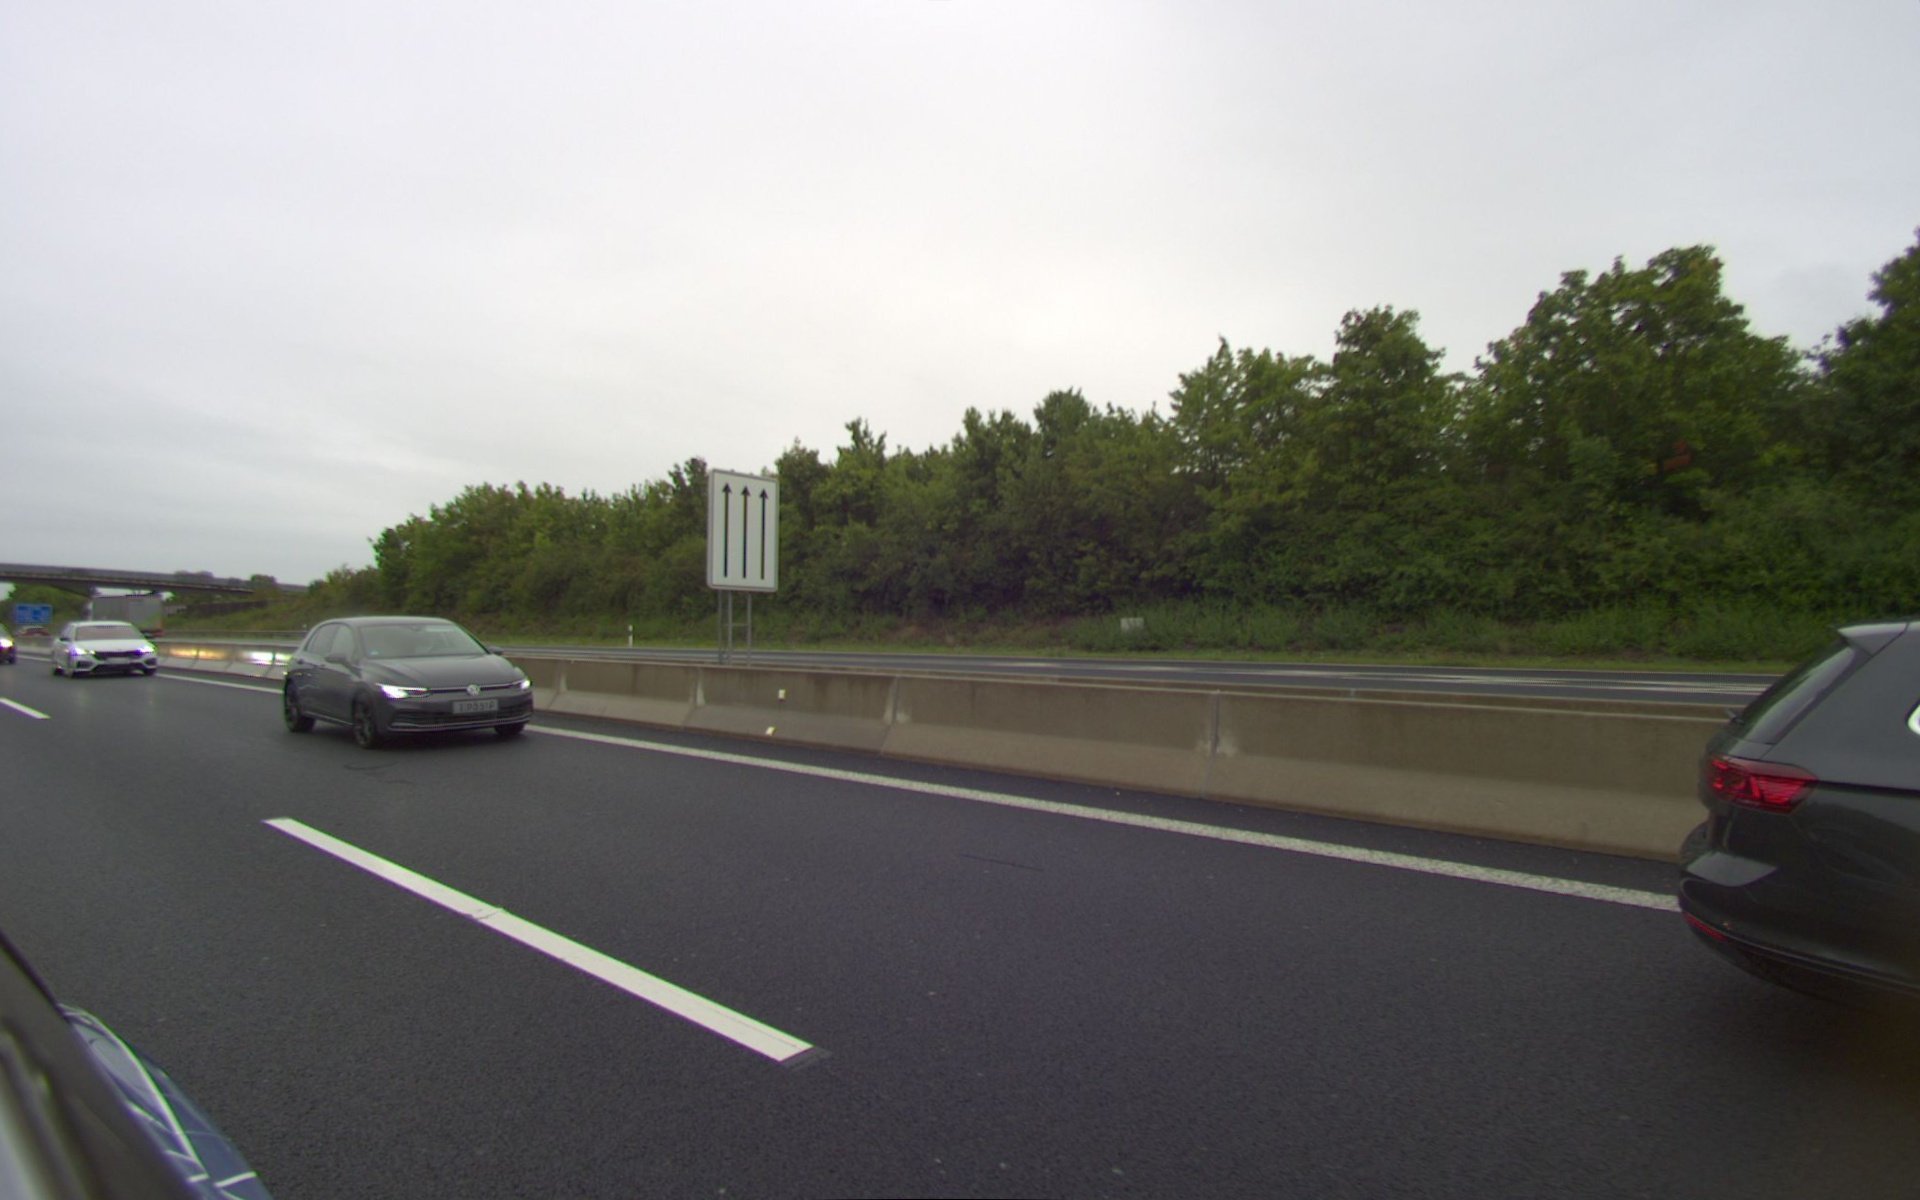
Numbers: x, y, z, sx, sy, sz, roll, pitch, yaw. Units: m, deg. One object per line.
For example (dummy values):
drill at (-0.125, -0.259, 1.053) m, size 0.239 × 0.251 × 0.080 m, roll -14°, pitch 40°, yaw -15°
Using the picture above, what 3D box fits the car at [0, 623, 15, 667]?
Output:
car at (-35.194, 1.610, 36.039) m, size 4.112 × 1.518 × 1.880 m, roll -1°, pitch -1°, yaw 41°

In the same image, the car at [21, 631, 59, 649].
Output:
car at (-74.658, 3.222, 82.131) m, size 4.378 × 1.416 × 1.880 m, roll -2°, pitch -1°, yaw 42°

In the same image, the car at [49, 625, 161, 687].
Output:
car at (-23.043, 1.449, 27.239) m, size 4.115 × 1.518 × 1.879 m, roll -2°, pitch -2°, yaw 44°

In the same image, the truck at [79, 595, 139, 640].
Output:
truck at (-80.687, 1.717, 95.871) m, size 7.436 × 4.114 × 3.226 m, roll -2°, pitch -2°, yaw 41°

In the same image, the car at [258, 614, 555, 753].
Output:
car at (-6.982, 0.902, 12.560) m, size 4.458 × 1.416 × 1.880 m, roll -2°, pitch -1°, yaw 42°

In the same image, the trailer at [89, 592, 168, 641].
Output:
trailer at (-74.461, 1.551, 90.469) m, size 13.836 × 4.114 × 3.226 m, roll -2°, pitch -2°, yaw 41°

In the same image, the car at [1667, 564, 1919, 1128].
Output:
car at (4.596, 0.630, 2.186) m, size 4.849 × 1.508 × 1.880 m, roll -1°, pitch -1°, yaw 41°
